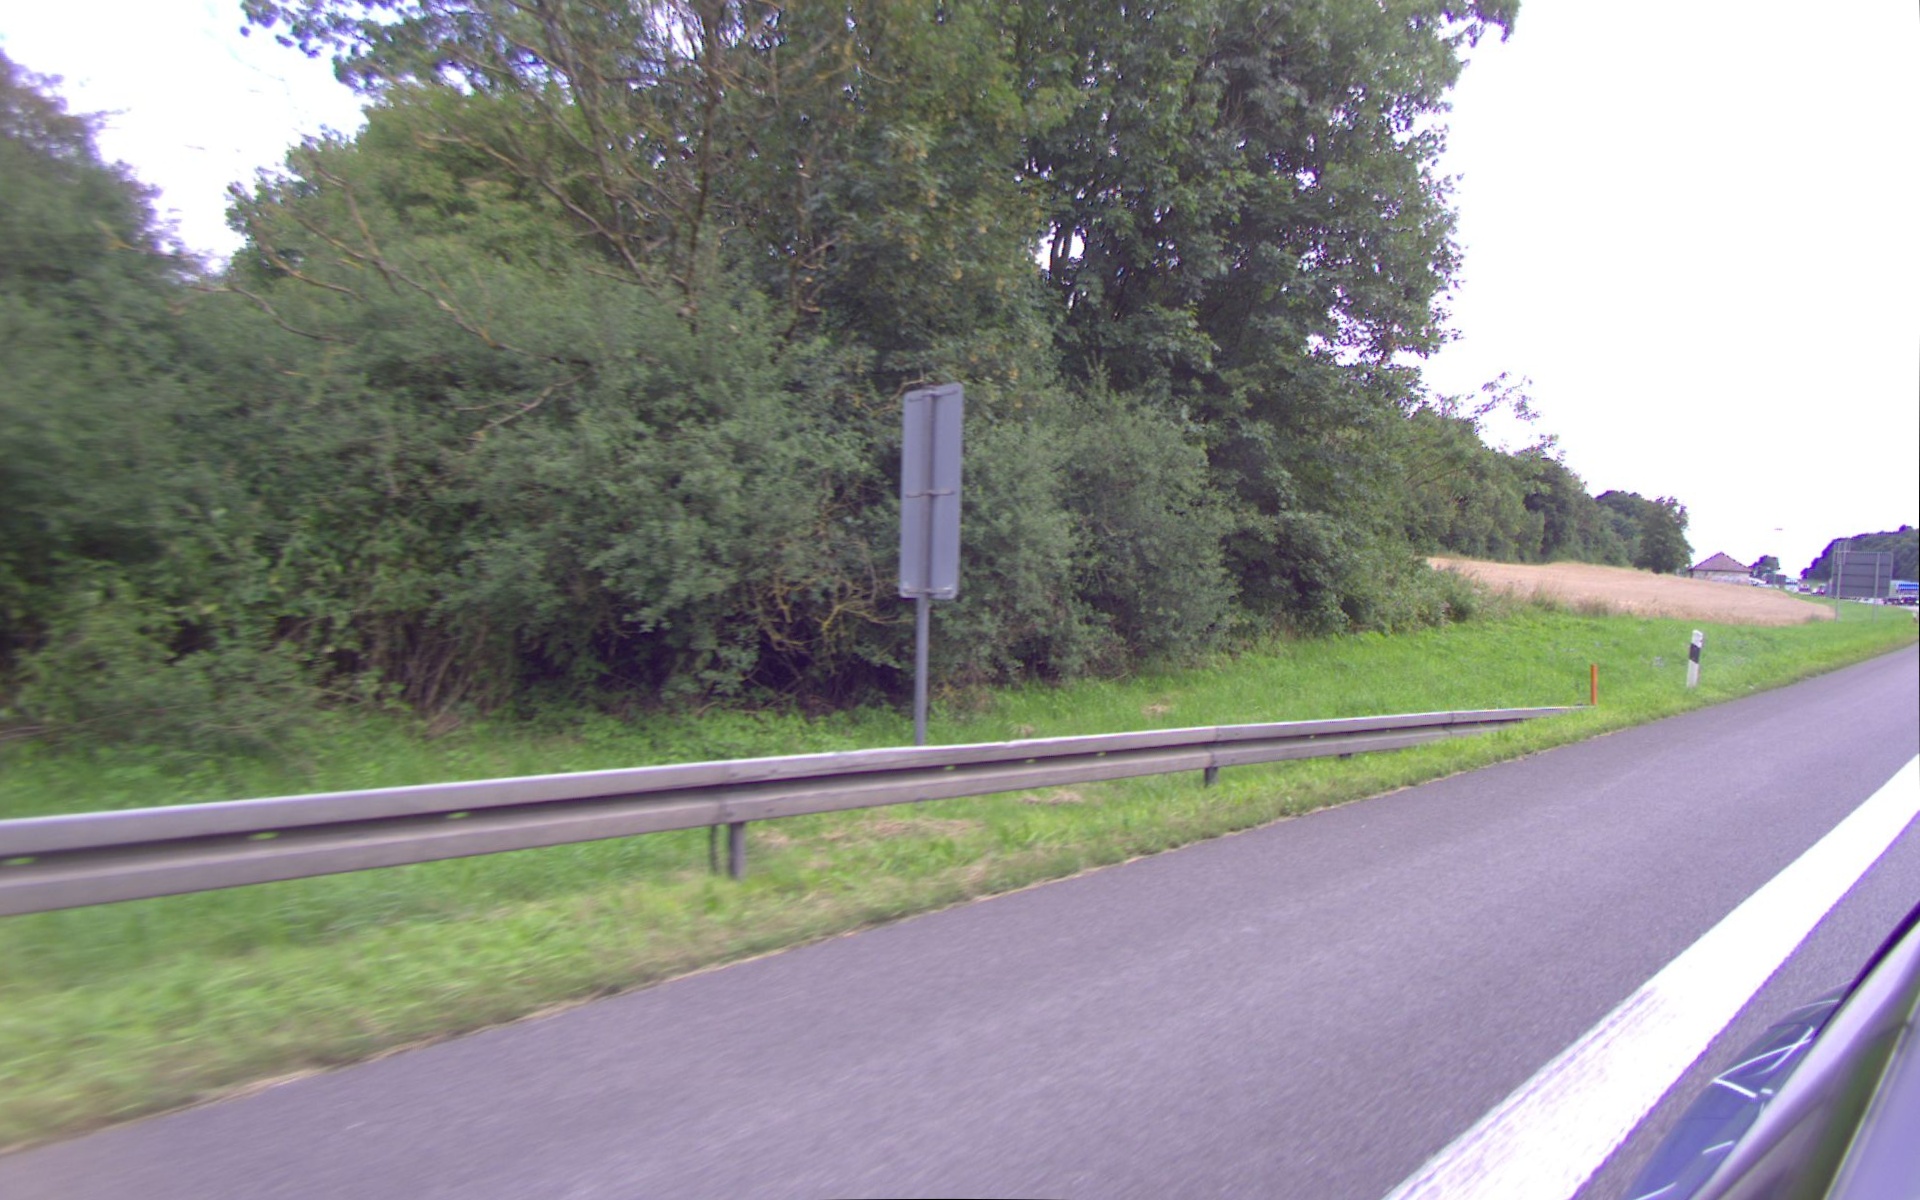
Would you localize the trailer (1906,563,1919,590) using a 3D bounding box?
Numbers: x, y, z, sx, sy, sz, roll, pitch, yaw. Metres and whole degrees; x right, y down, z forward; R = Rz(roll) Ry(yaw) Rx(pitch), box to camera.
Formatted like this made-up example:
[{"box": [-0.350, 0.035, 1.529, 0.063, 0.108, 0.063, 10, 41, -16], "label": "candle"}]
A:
[{"box": [144.892, -3.493, 152.648, 2.781, 4.004, 11.115, 1, 2, 45], "label": "trailer"}]

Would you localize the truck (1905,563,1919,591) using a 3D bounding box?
[{"box": [140.445, -3.420, 148.131, 2.790, 4.021, 5.844, 1, 1, 45], "label": "truck"}]
